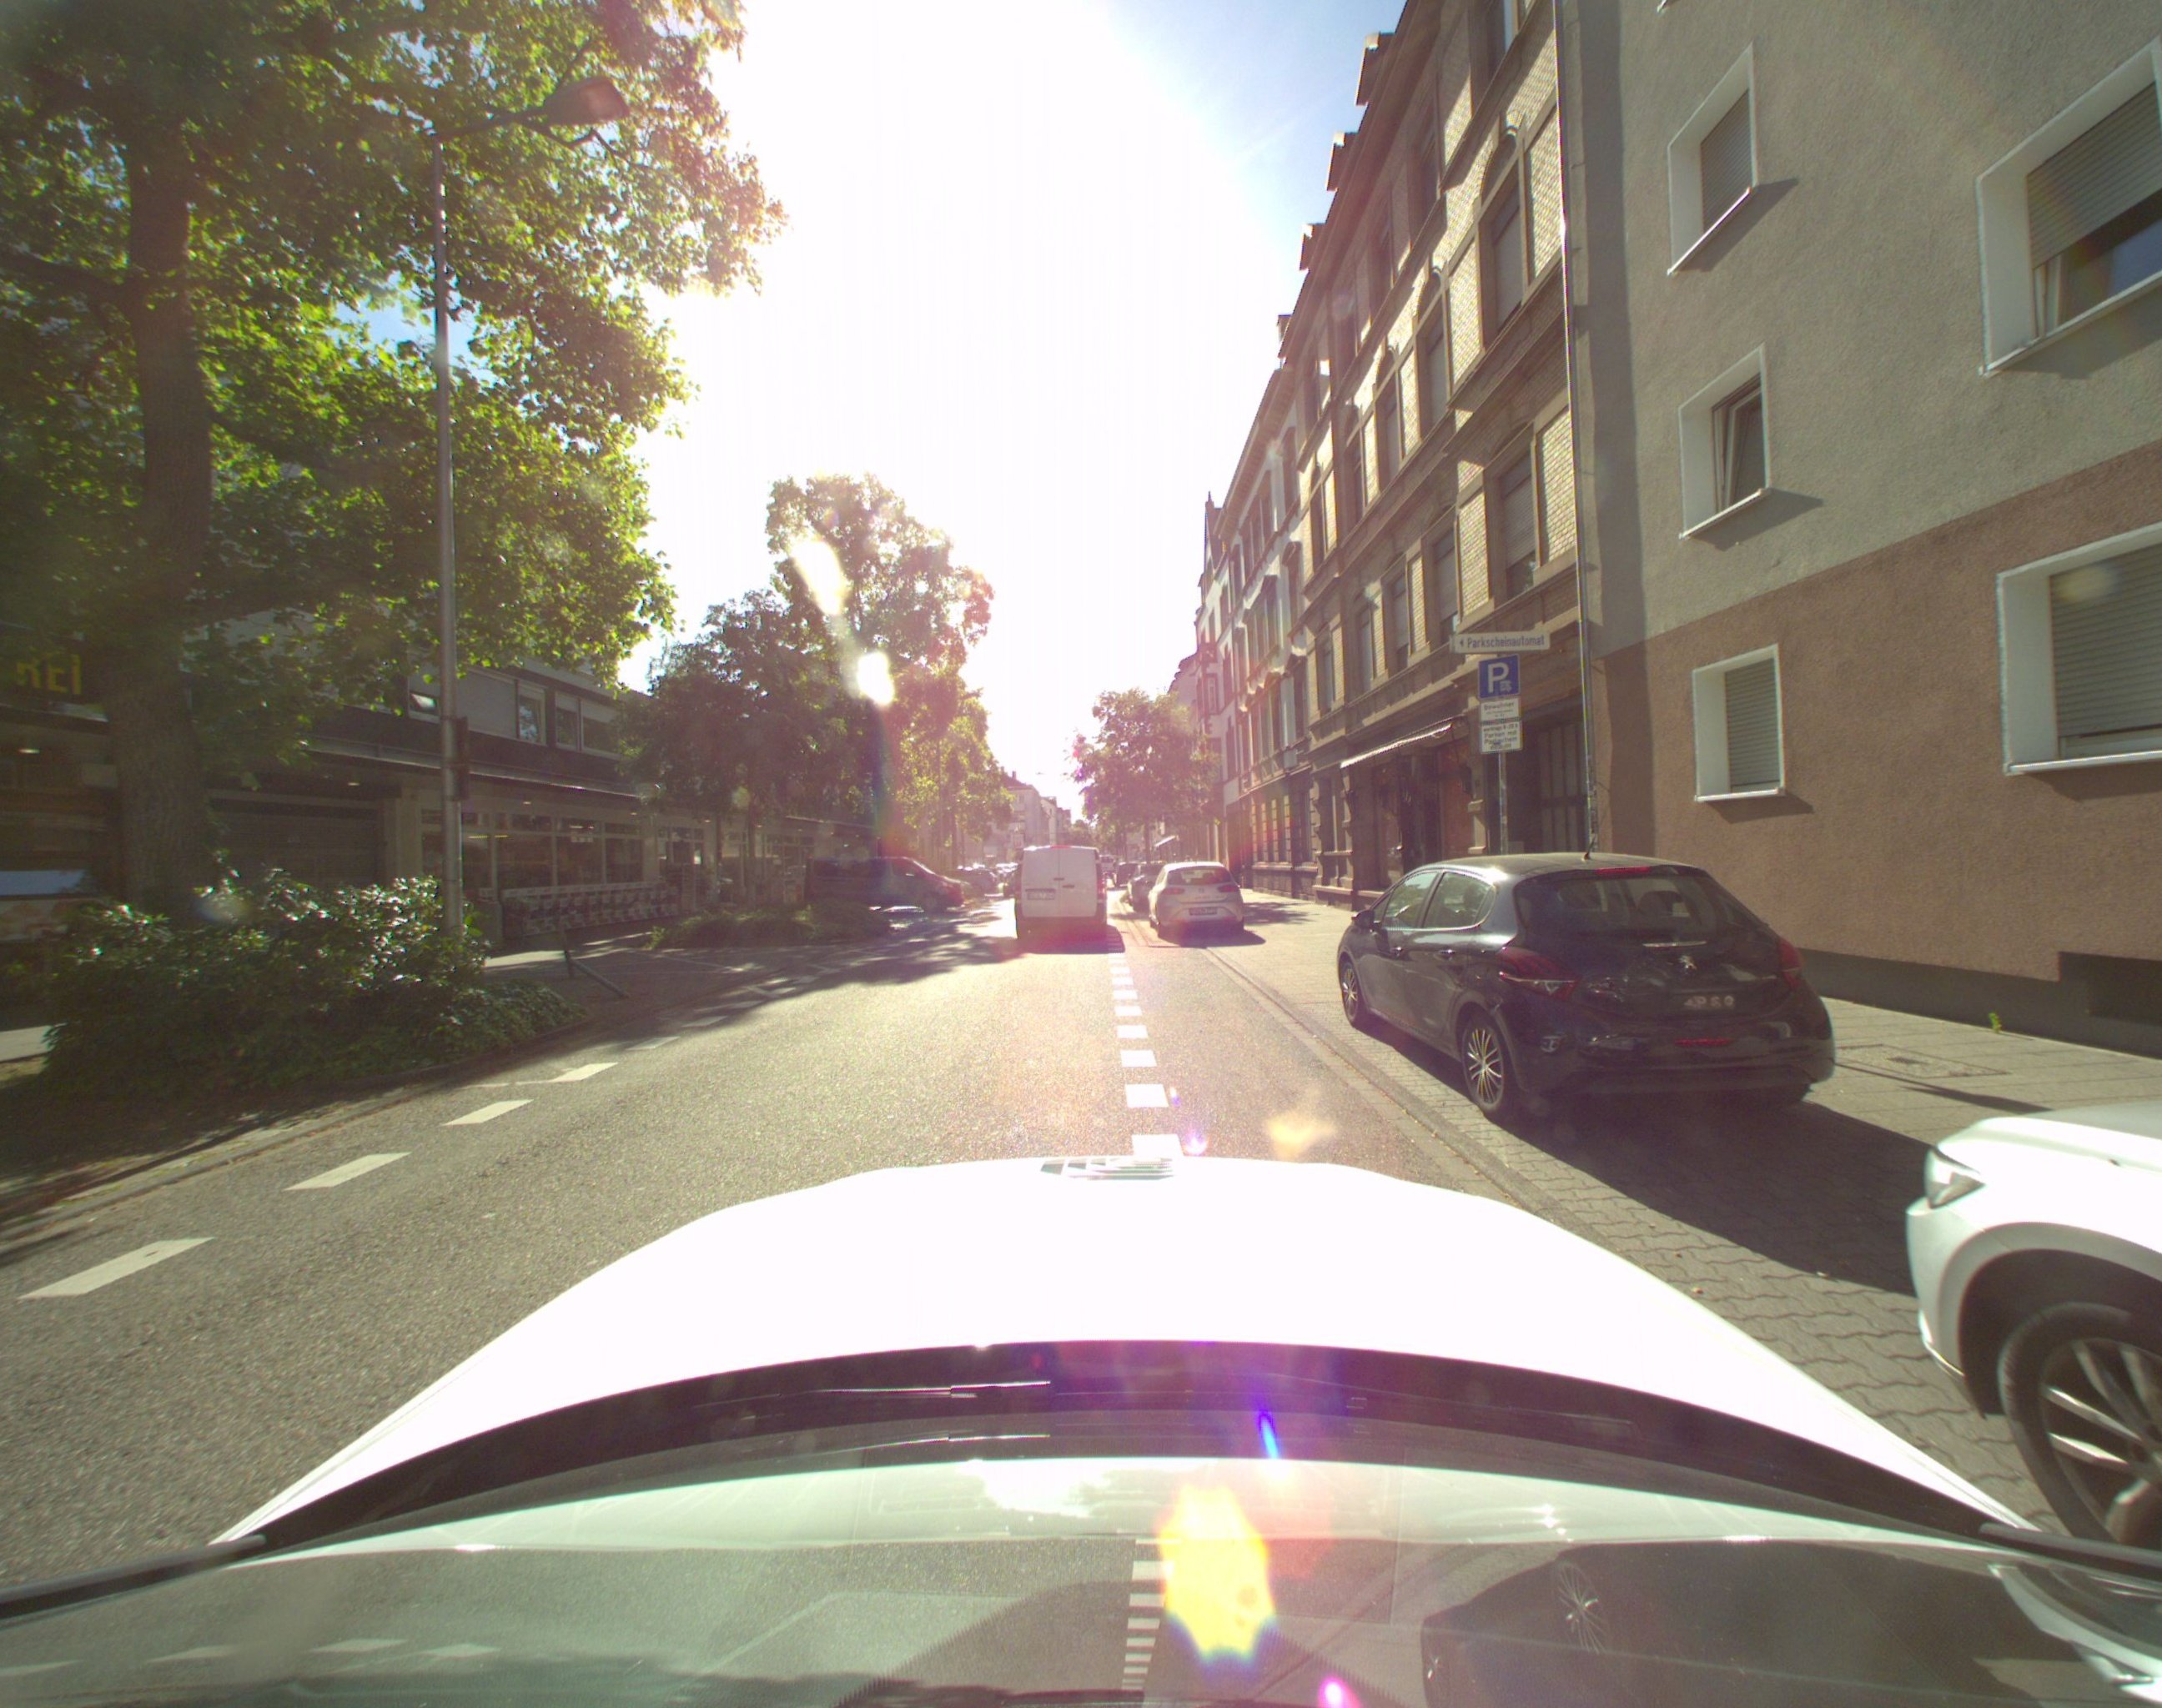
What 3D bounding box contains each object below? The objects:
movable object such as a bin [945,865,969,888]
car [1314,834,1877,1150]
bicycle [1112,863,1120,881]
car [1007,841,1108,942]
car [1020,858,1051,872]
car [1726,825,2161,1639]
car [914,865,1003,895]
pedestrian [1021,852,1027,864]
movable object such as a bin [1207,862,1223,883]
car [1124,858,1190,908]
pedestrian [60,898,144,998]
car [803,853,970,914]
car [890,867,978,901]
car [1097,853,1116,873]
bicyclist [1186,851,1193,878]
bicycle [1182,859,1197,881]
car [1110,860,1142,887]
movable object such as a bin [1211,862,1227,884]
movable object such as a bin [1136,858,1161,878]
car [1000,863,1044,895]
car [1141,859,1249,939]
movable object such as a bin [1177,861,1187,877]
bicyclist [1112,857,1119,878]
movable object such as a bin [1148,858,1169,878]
[{"bbox_3d":[-8.141,1.456,53.387,1.222,1.450,1.079,-2,-1,11],"label":"movable object such as a bin"},{"bbox_3d":[3.058,0.689,5.863,1.703,1.480,3.711,-2,0,1],"label":"car"},{"bbox_3d":[2.563,1.270,59.152,0.473,1.274,1.218,-2,-1,0],"label":"bicycle"},{"bbox_3d":[-0.558,0.735,18.243,1.916,1.914,4.883,-1,0,-3],"label":"car"},{"bbox_3d":[-5.895,1.431,105.840,3.978,1.640,1.998,-2,0,-3],"label":"car"},{"bbox_3d":[2.760,0.657,0.170,1.778,1.460,4.520,-4,0,3],"label":"car"},{"bbox_3d":[-6.356,1.363,42.547,4.287,1.460,1.763,-1,0,2],"label":"car"},{"bbox_3d":[-7.997,0.510,113.850,0.681,1.663,0.601,-2,-1,-1],"label":"pedestrian"},{"bbox_3d":[6.844,0.943,41.590,0.636,1.069,0.632,-2,-1,0],"label":"movable object such as a bin"},{"bbox_3d":[2.419,0.887,26.777,1.733,1.451,4.307,-2,0,0],"label":"car"},{"bbox_3d":[-13.017,1.230,10.846,0.327,1.240,0.636,-2,-1,-2],"label":"pedestrian"},{"bbox_3d":[-6.696,0.994,28.394,5.275,1.974,2.015,-1,0,0],"label":"car"},{"bbox_3d":[-7.134,1.449,39.856,3.977,1.463,1.811,-1,0,-3],"label":"car"},{"bbox_3d":[2.596,0.896,83.798,1.810,1.921,4.643,-2,0,0],"label":"car"},{"bbox_3d":[6.015,0.579,45.174,0.359,1.477,0.531,-2,-1,4],"label":"bicyclist"},{"bbox_3d":[6.053,0.905,45.335,0.534,1.148,2.125,-6,-1,3],"label":"bicycle"},{"bbox_3d":[2.712,1.155,49.593,1.631,1.476,3.578,-3,0,-1],"label":"car"},{"bbox_3d":[6.835,0.933,40.434,0.636,1.069,0.639,-2,-1,0],"label":"movable object such as a bin"},{"bbox_3d":[4.776,1.006,57.533,1.278,1.347,1.095,-2,-1,-41],"label":"movable object such as a bin"},{"bbox_3d":[-2.897,1.217,40.820,1.757,1.438,3.961,-4,-1,1],"label":"car"},{"bbox_3d":[2.312,0.862,17.483,1.733,1.451,4.000,-2,0,0],"label":"car"},{"bbox_3d":[7.115,1.057,57.503,0.596,1.042,0.546,-2,-1,0],"label":"movable object such as a bin"},{"bbox_3d":[2.537,0.983,59.403,0.438,1.508,0.496,-3,0,0],"label":"bicyclist"},{"bbox_3d":[5.613,1.006,58.723,1.028,1.347,1.116,-2,0,39],"label":"movable object such as a bin"}]
